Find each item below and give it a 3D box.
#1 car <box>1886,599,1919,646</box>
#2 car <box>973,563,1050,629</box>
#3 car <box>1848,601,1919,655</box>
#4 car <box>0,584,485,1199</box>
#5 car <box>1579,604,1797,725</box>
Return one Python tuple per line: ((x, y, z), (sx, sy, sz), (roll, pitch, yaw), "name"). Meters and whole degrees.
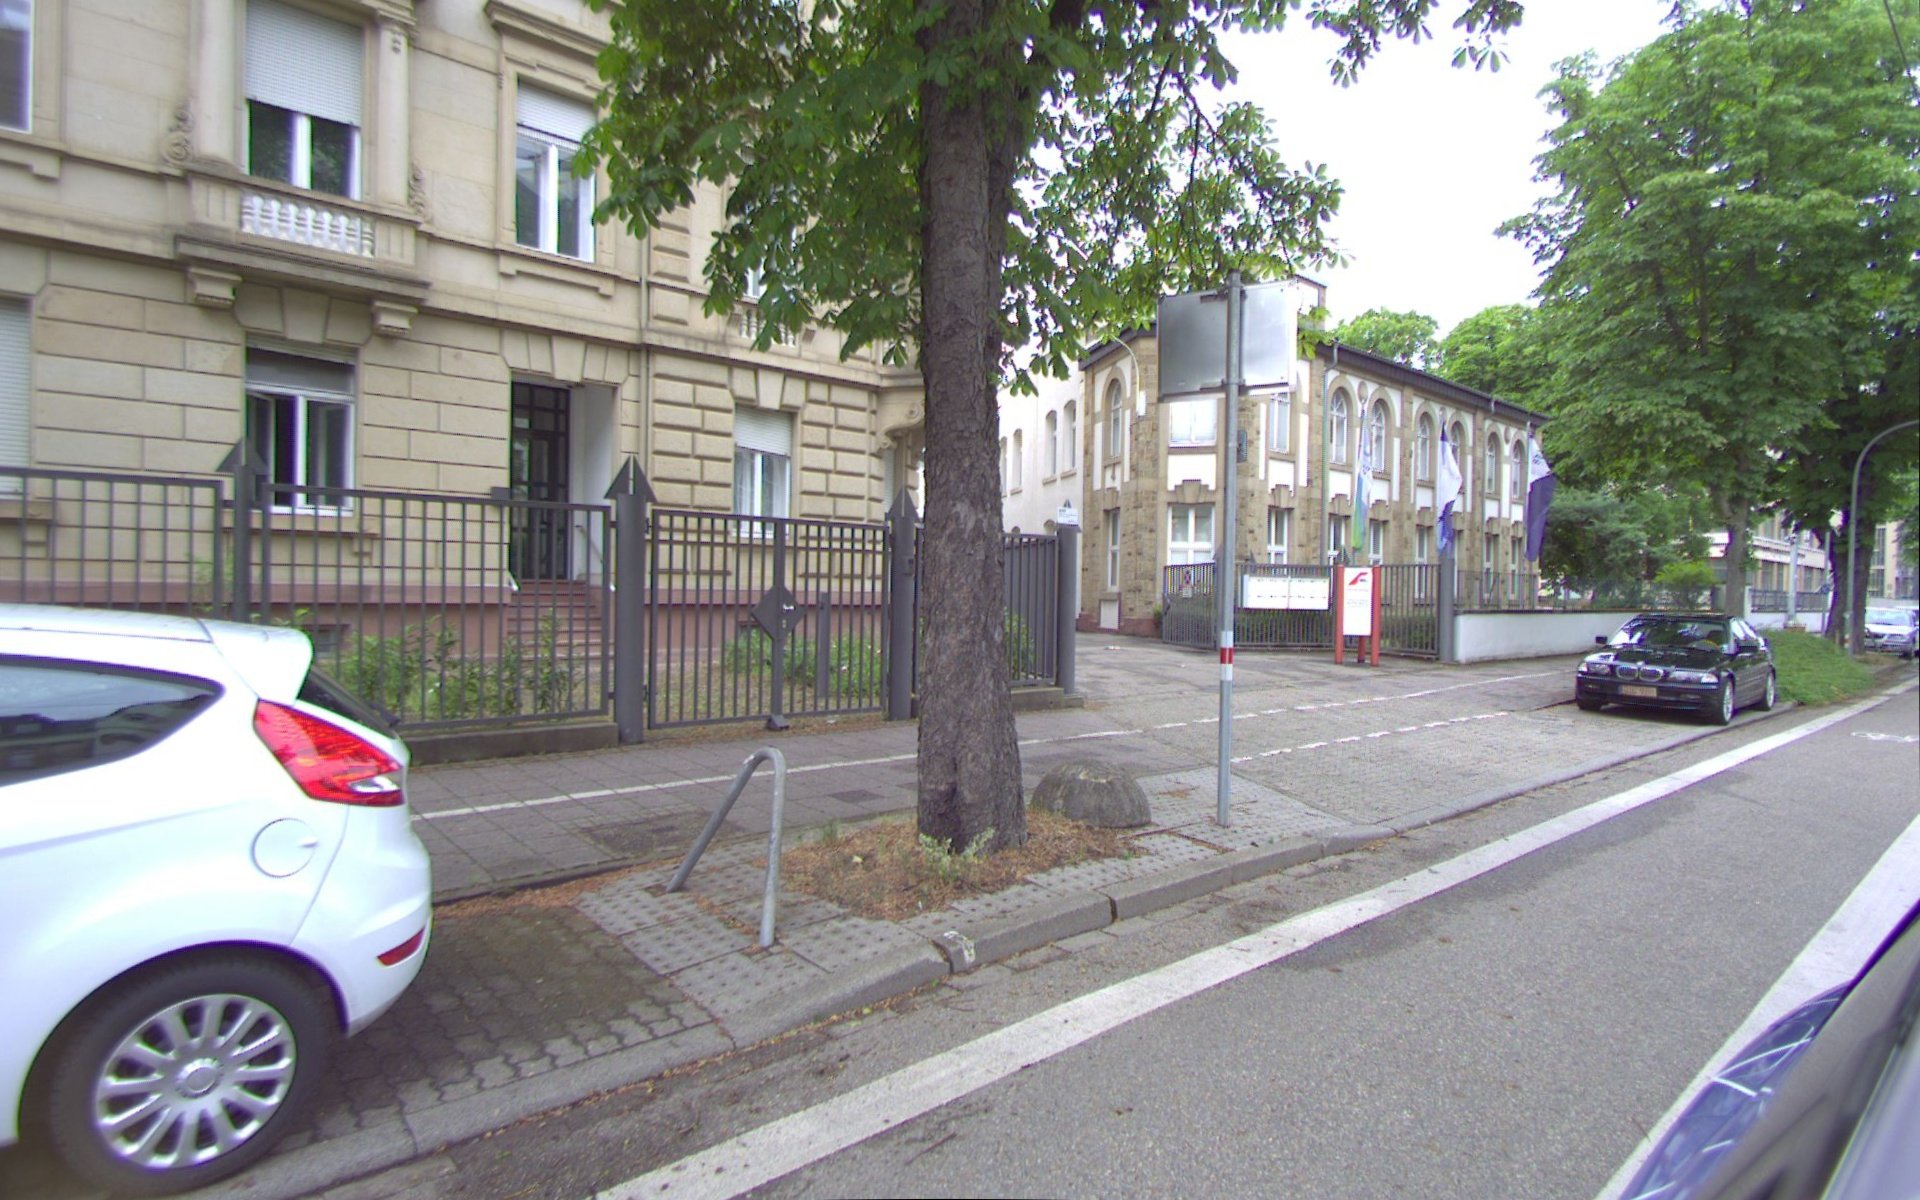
((32.102, 0.738, 33.548), (3.769, 1.442, 1.606), (0, 3, -41), "car")
((1.555, -0.156, 32.020), (1.961, 1.909, 4.003), (1, 1, -4), "car")
((26.825, 0.760, 28.926), (3.769, 1.387, 1.606), (0, 3, -41), "car")
((-3.304, 0.719, 2.330), (3.698, 1.453, 1.631), (0, 3, -41), "car")
((10.257, 0.793, 14.172), (3.769, 1.387, 1.606), (0, 3, -41), "car")
